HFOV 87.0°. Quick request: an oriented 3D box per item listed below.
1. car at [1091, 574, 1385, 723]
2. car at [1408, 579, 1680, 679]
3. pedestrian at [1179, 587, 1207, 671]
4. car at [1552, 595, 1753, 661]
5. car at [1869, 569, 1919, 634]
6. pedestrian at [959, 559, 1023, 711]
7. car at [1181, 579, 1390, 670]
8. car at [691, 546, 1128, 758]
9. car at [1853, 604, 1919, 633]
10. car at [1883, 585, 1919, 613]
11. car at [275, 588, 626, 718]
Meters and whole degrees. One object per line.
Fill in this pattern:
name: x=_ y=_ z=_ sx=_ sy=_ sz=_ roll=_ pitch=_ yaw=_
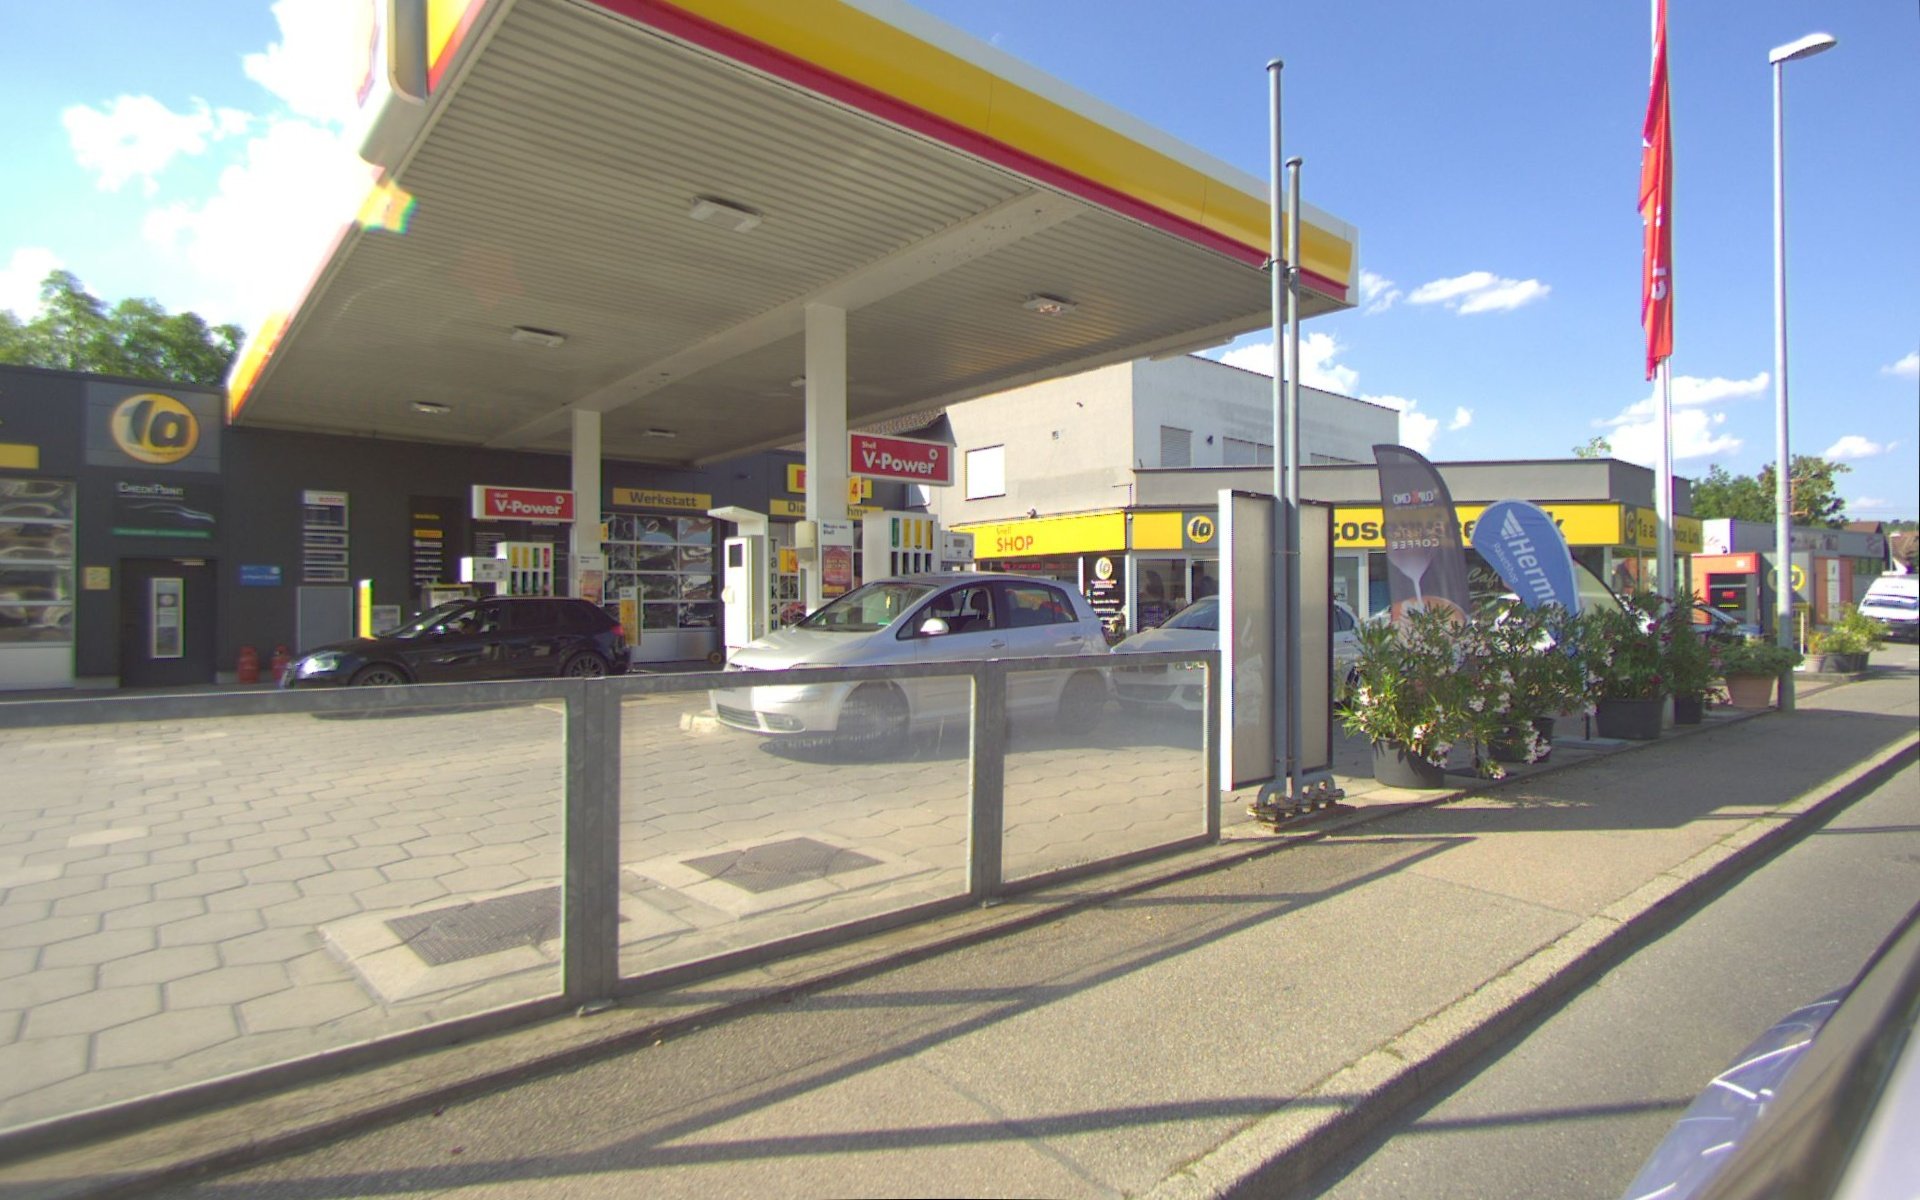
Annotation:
car: x=3.605 y=0.527 z=12.776 sx=3.927 sy=1.597 sz=1.675 roll=0 pitch=0 yaw=-40
car: x=10.754 y=0.492 z=18.893 sx=4.010 sy=1.695 sz=1.673 roll=1 pitch=1 yaw=9
pedestrian: x=4.236 y=0.526 z=18.432 sx=0.423 sy=1.498 sz=0.624 roll=0 pitch=-1 yaw=8
car: x=17.593 y=0.654 z=25.871 sx=1.500 sy=1.551 sz=3.996 roll=0 pitch=0 yaw=-38
car: x=36.610 y=0.039 z=39.093 sx=5.092 sy=2.405 sz=1.838 roll=0 pitch=0 yaw=-43
pedestrian: x=0.357 y=0.389 z=11.614 sx=0.525 sy=1.691 sz=0.501 roll=0 pitch=-1 yaw=-40
car: x=6.206 y=0.436 z=19.649 sx=3.625 sy=1.653 sz=1.673 roll=0 pitch=1 yaw=9
car: x=-0.343 y=0.400 z=9.563 sx=3.927 sy=1.597 sz=1.675 roll=0 pitch=0 yaw=-40
car: x=51.652 y=1.009 z=55.263 sx=1.595 sy=1.434 sz=4.077 roll=-1 pitch=2 yaw=-36
car: x=57.013 y=-0.067 z=59.437 sx=1.652 sy=1.623 sz=3.948 roll=-2 pitch=1 yaw=-38
car: x=-6.678 y=0.595 z=13.491 sx=3.928 sy=1.418 sz=1.540 roll=-2 pitch=1 yaw=-40
